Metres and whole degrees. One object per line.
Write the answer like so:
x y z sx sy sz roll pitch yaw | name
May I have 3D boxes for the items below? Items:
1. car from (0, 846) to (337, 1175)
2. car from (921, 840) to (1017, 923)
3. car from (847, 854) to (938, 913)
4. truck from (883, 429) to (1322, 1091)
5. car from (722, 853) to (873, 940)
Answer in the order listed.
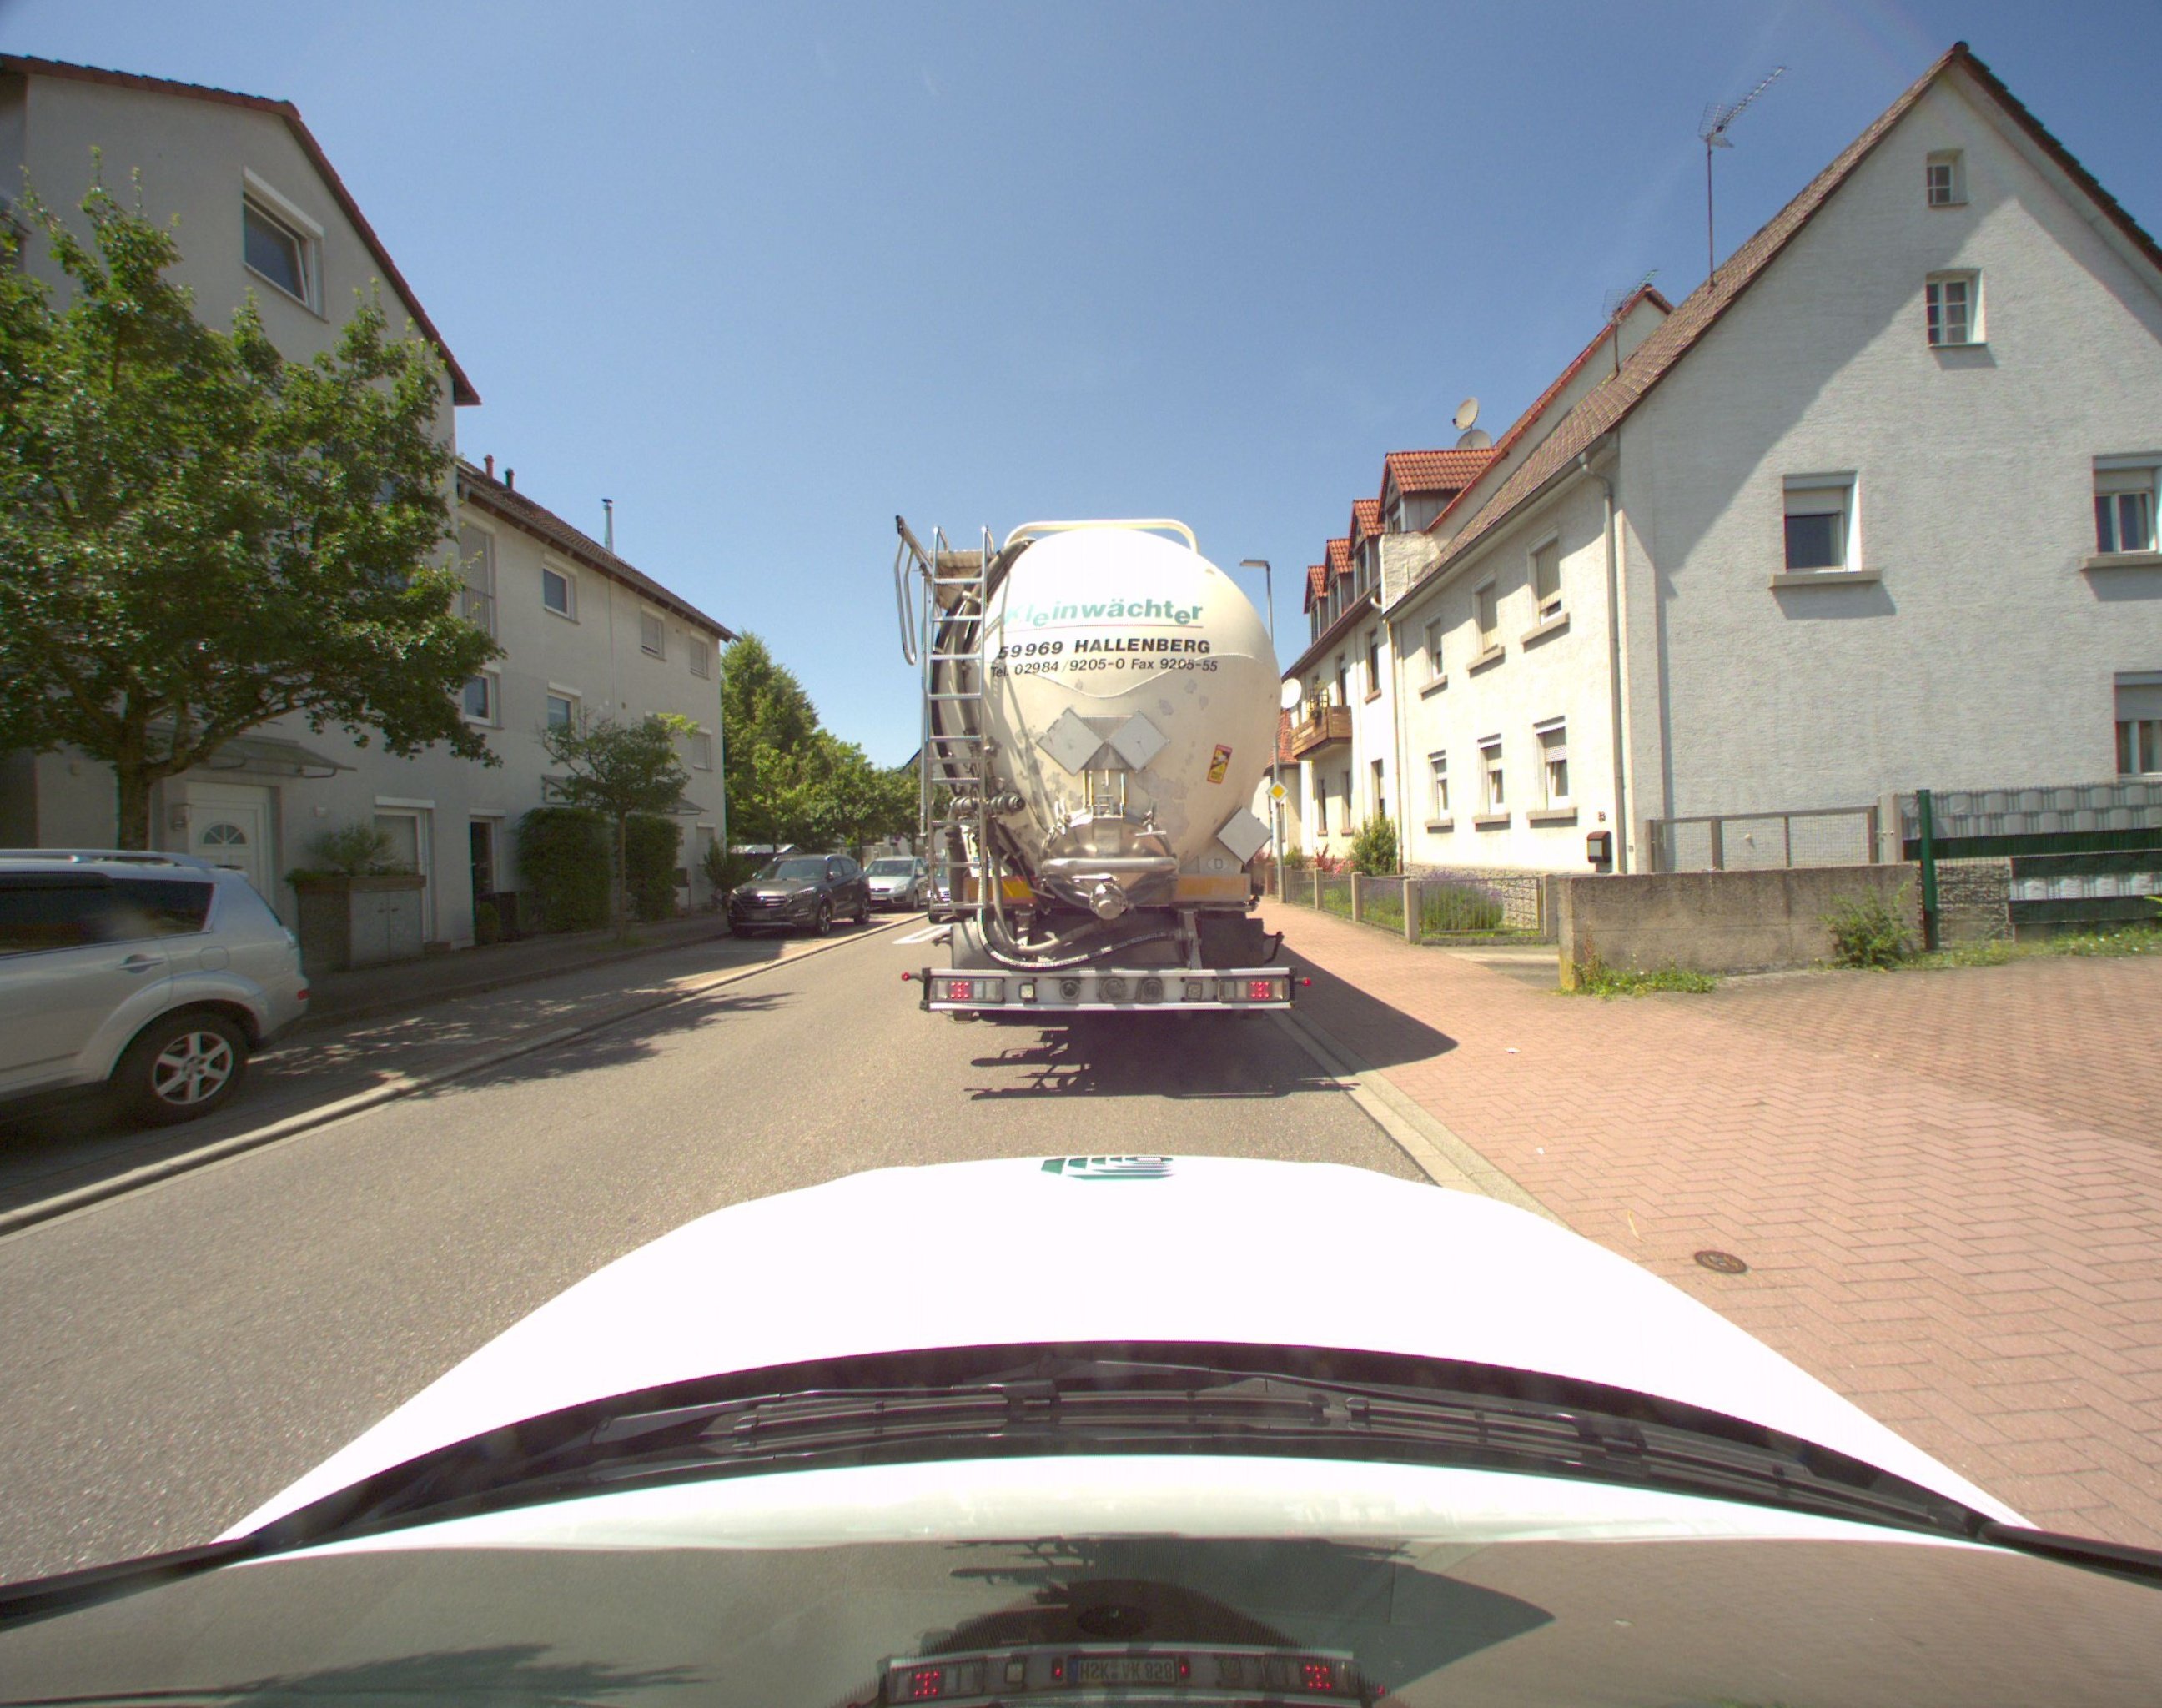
-6.421 0.819 3.784 1.700 1.686 4.526 -1 0 1 | car
-2.797 0.630 21.235 1.649 1.855 4.466 -3 0 2 | car
-5.486 0.801 24.186 1.691 1.580 3.839 -1 0 1 | car
0.295 -0.585 9.772 2.631 4.015 9.566 -1 0 2 | truck
-5.899 0.809 17.477 1.685 1.620 4.000 -1 0 2 | car
